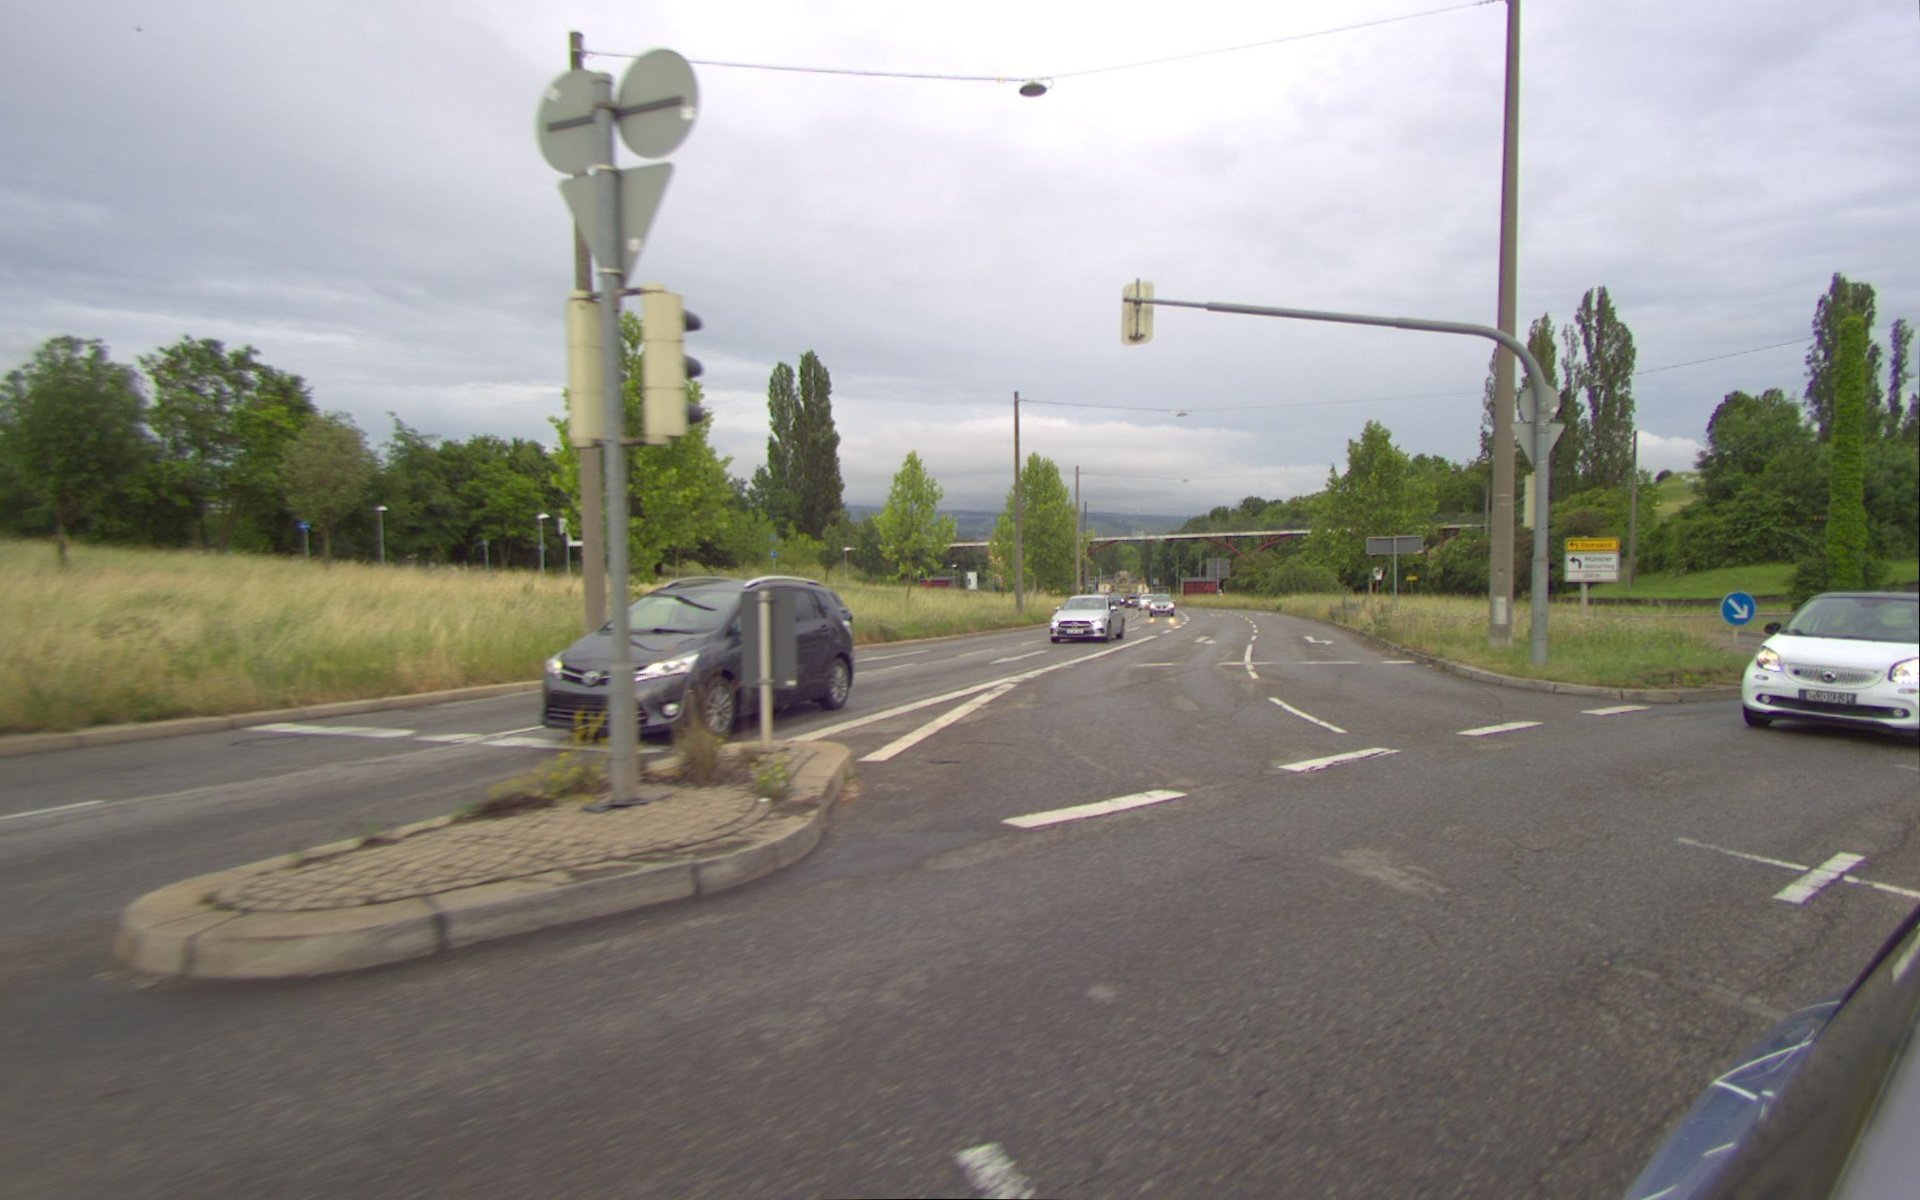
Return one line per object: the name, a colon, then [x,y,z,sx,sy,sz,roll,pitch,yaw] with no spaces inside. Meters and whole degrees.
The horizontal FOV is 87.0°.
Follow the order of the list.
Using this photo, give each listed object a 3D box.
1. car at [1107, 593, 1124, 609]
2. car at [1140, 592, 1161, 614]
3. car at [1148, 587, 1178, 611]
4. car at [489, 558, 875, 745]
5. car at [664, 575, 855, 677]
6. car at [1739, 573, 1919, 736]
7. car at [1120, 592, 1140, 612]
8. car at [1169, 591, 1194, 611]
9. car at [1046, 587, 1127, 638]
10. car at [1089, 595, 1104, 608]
car: [20.571,0.072,133.513,1.969,2.039,3.986,1,1,12]
car: [17.913,0.273,95.224,1.808,1.972,3.990,-1,1,9]
car: [13.487,-0.062,67.128,1.844,1.504,3.985,1,1,13]
car: [-2.799,0.414,11.478,1.974,1.663,4.600,0,1,19]
car: [-3.549,0.410,18.604,1.699,1.663,3.864,-2,1,19]
car: [10.575,0.529,11.320,4.146,1.541,1.728,1,1,-34]
car: [18.531,0.178,110.322,1.966,2.039,3.993,0,1,7]
car: [17.502,0.062,79.889,1.843,1.515,3.745,0,1,14]
car: [3.945,0.328,30.984,1.725,1.445,3.976,1,1,18]
car: [21.769,0.185,161.415,1.969,2.039,3.986,1,1,12]
